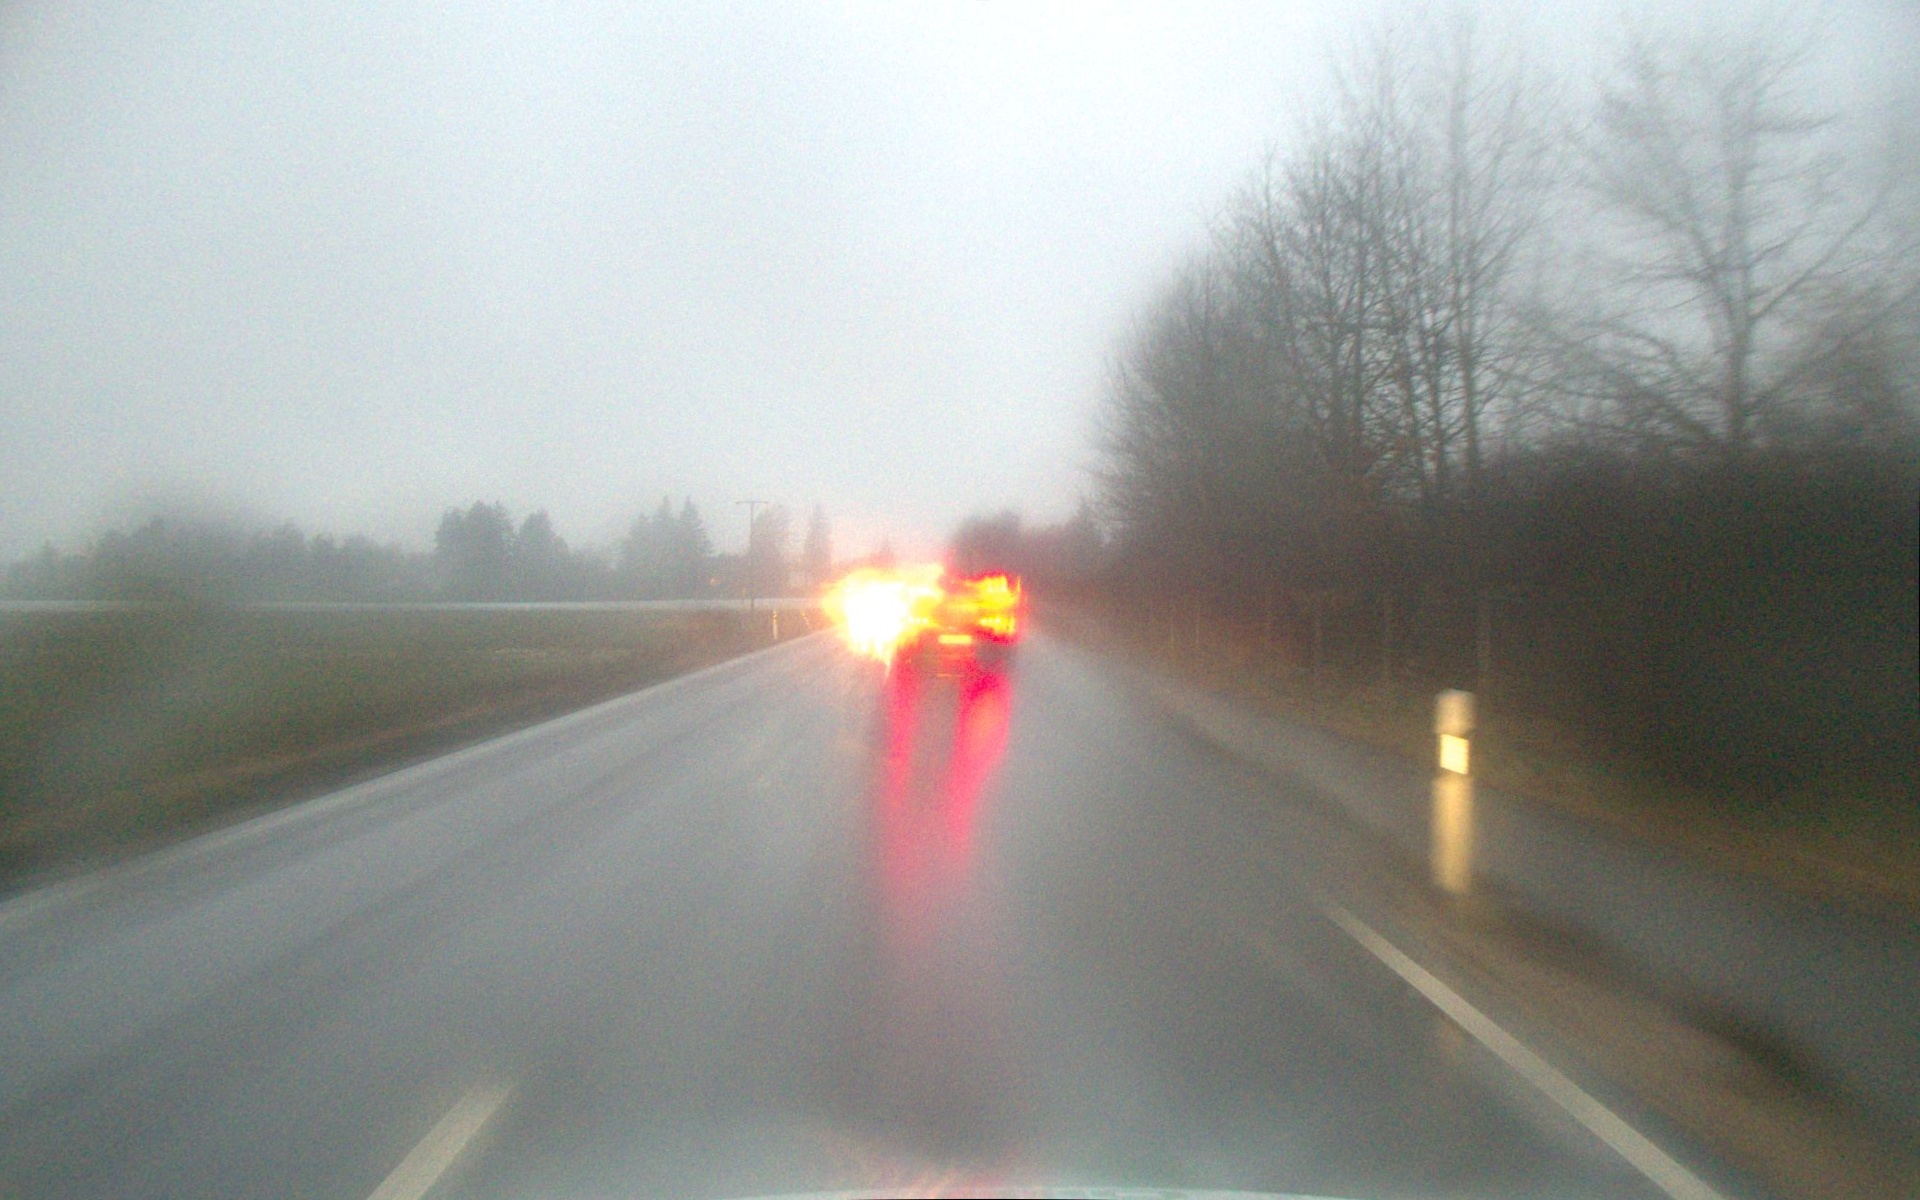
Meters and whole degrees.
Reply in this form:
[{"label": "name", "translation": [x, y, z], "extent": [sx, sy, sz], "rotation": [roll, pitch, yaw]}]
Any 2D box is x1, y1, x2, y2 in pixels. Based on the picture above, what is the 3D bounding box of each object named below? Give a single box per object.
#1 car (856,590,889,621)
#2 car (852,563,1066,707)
[{"label": "car", "translation": [-5.148, 0.327, 97.931], "extent": [1.802, 1.751, 3.955], "rotation": [1, 0, -2]}, {"label": "car", "translation": [-0.039, 0.479, 27.575], "extent": [3.100, 2.071, 6.851], "rotation": [-1, 0, 0]}]
